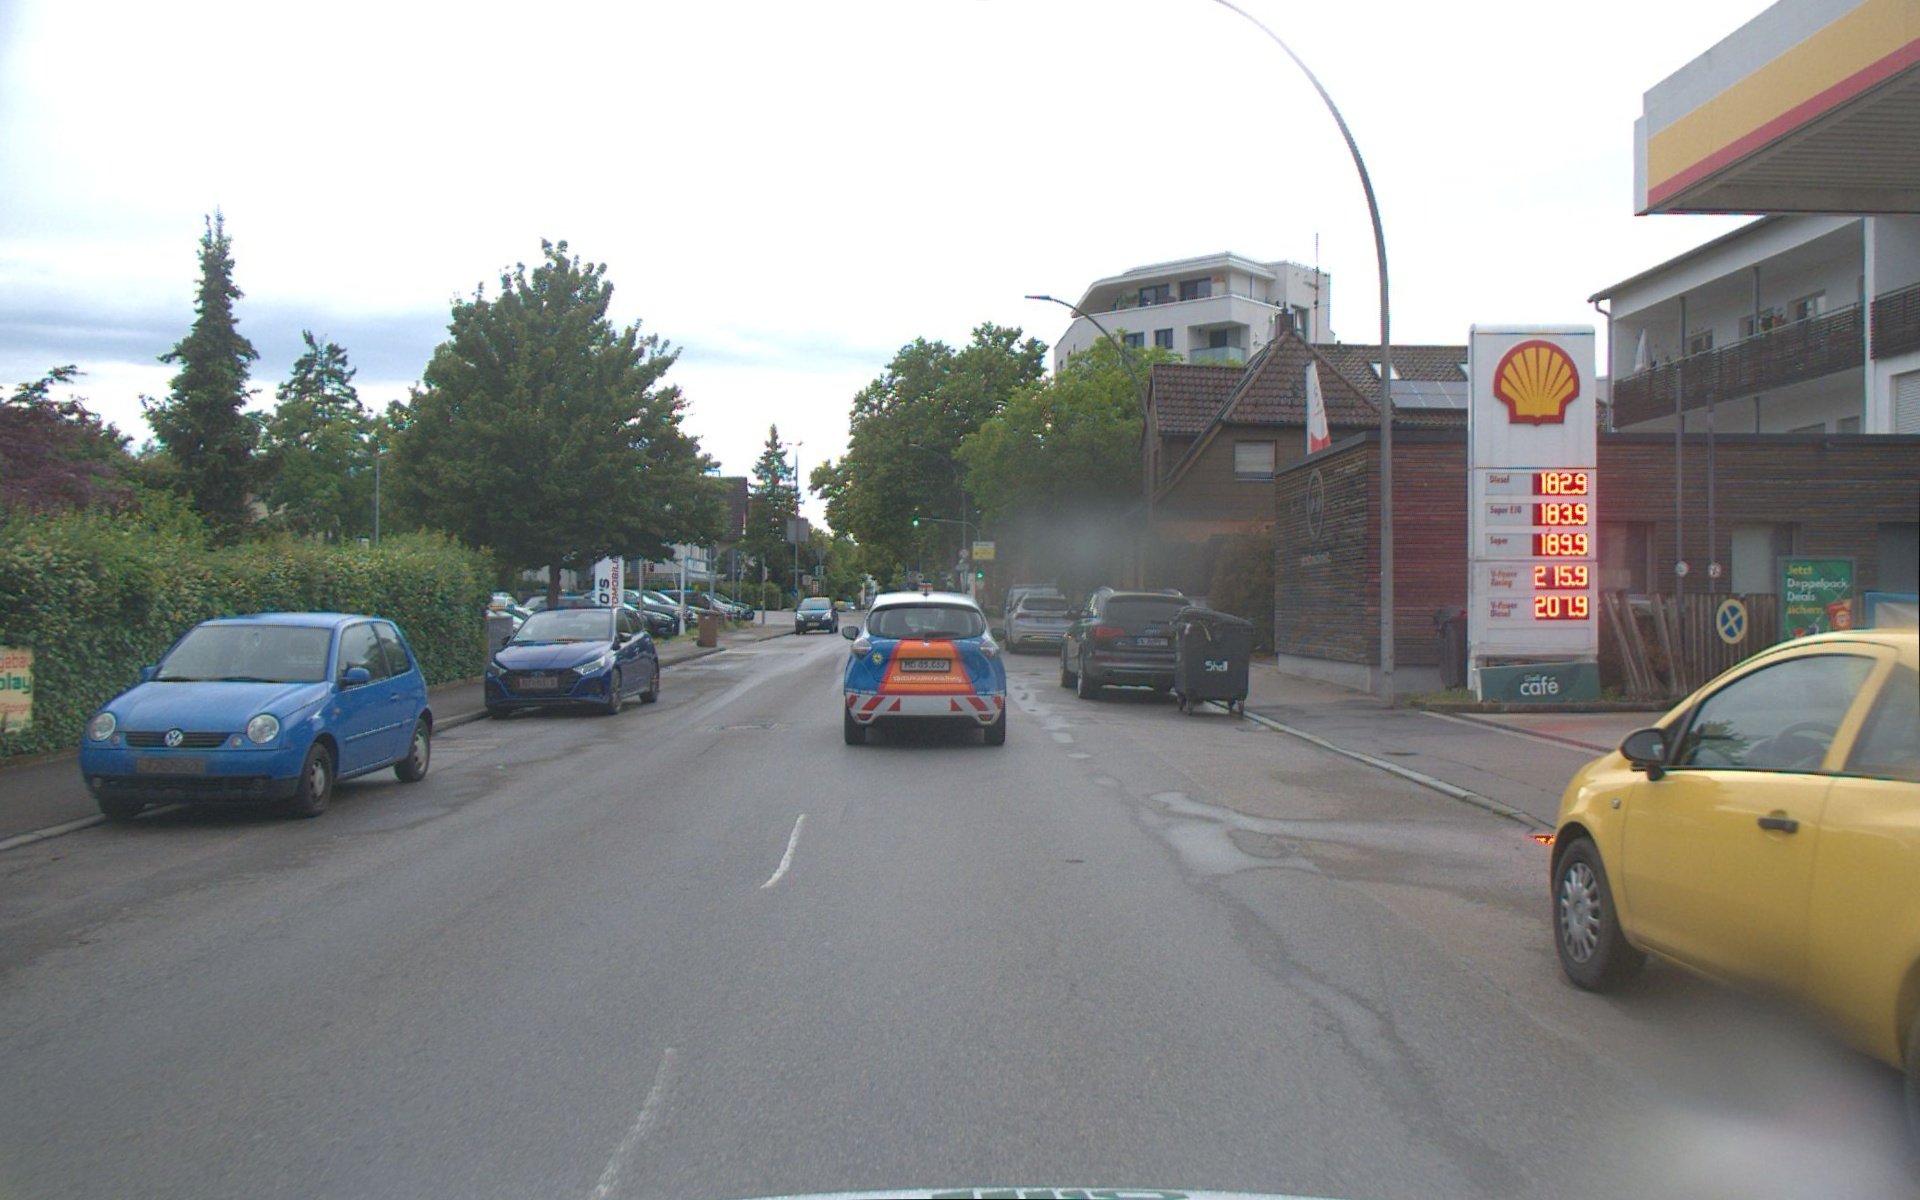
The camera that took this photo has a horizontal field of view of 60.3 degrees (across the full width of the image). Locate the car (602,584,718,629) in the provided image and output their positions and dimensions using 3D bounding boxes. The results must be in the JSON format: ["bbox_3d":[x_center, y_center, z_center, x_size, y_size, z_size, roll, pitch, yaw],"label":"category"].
[{"bbox_3d":[-11.934,0.260,65.927,4.259,1.720,1.959,0,0,-1],"label":"car"}]

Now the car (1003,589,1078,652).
[{"bbox_3d":[2.266,0.566,47.733,1.828,1.694,4.319,1,0,-2],"label":"car"}]

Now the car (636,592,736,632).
[{"bbox_3d":[-11.702,0.510,70.687,3.905,1.571,1.804,1,0,1],"label":"car"}]

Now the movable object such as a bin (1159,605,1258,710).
[{"bbox_3d":[3.483,0.785,23.338,1.104,1.413,1.503,0,0,-3],"label":"movable object such as a bin"}]

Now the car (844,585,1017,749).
[{"bbox_3d":[-0.334,0.644,18.411,1.710,1.608,3.999,0,1,-1],"label":"car"}]

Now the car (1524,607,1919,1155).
[{"bbox_3d":[3.333,0.759,5.360,1.623,1.426,3.800,0,0,-2],"label":"car"}]

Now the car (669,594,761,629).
[{"bbox_3d":[-11.263,0.518,76.217,3.905,1.466,1.804,1,0,1],"label":"car"}]

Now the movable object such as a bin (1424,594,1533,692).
[{"bbox_3d":[7.388,0.591,23.627,1.080,1.363,1.383,0,0,-3],"label":"movable object such as a bin"}]

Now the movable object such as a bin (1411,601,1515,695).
[{"bbox_3d":[7.507,0.696,24.743,1.080,1.363,1.383,0,0,-3],"label":"movable object such as a bin"}]

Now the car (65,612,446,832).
[{"bbox_3d":[-5.376,0.848,13.110,1.514,1.427,3.596,-1,0,-1],"label":"car"}]

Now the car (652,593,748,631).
[{"bbox_3d":[-11.518,0.515,73.487,3.905,1.571,1.804,1,0,1],"label":"car"}]

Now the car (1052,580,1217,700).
[{"bbox_3d":[2.713,0.564,26.800,2.049,1.691,4.558,2,1,-1],"label":"car"}]

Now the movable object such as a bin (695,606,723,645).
[{"bbox_3d":[-7.433,0.754,48.948,0.693,1.149,0.735,1,0,-1],"label":"movable object such as a bin"}]

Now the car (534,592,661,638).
[{"bbox_3d":[-12.249,0.503,56.089,3.905,1.489,1.839,0,0,-1],"label":"car"}]

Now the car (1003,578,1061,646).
[{"bbox_3d":[2.296,0.343,53.767,1.741,2.064,4.755,2,1,1],"label":"car"}]

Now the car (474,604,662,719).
[{"bbox_3d":[-5.442,0.809,23.465,1.770,1.427,3.944,-1,0,-1],"label":"car"}]

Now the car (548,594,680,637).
[{"bbox_3d":[-12.199,0.535,58.572,4.259,1.489,1.941,0,0,-1],"label":"car"}]

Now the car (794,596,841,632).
[{"bbox_3d":[-5.978,0.573,69.702,1.593,1.458,3.684,0,0,0],"label":"car"}]

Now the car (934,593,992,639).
[{"bbox_3d":[0.087,0.583,63.270,1.954,1.601,3.998,1,1,-4],"label":"car"}]

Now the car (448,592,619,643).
[{"bbox_3d":[-11.831,0.468,46.063,4.287,1.398,1.888,0,0,-2],"label":"car"}]

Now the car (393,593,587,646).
[{"bbox_3d":[-12.070,0.491,42.698,4.465,1.332,1.888,0,0,-2],"label":"car"}]

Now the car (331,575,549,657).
[{"bbox_3d":[-11.895,0.354,38.083,4.469,1.821,1.896,0,0,-6],"label":"car"}]

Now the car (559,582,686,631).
[{"bbox_3d":[-12.418,0.228,61.033,4.259,1.721,2.058,0,0,-1],"label":"car"}]
